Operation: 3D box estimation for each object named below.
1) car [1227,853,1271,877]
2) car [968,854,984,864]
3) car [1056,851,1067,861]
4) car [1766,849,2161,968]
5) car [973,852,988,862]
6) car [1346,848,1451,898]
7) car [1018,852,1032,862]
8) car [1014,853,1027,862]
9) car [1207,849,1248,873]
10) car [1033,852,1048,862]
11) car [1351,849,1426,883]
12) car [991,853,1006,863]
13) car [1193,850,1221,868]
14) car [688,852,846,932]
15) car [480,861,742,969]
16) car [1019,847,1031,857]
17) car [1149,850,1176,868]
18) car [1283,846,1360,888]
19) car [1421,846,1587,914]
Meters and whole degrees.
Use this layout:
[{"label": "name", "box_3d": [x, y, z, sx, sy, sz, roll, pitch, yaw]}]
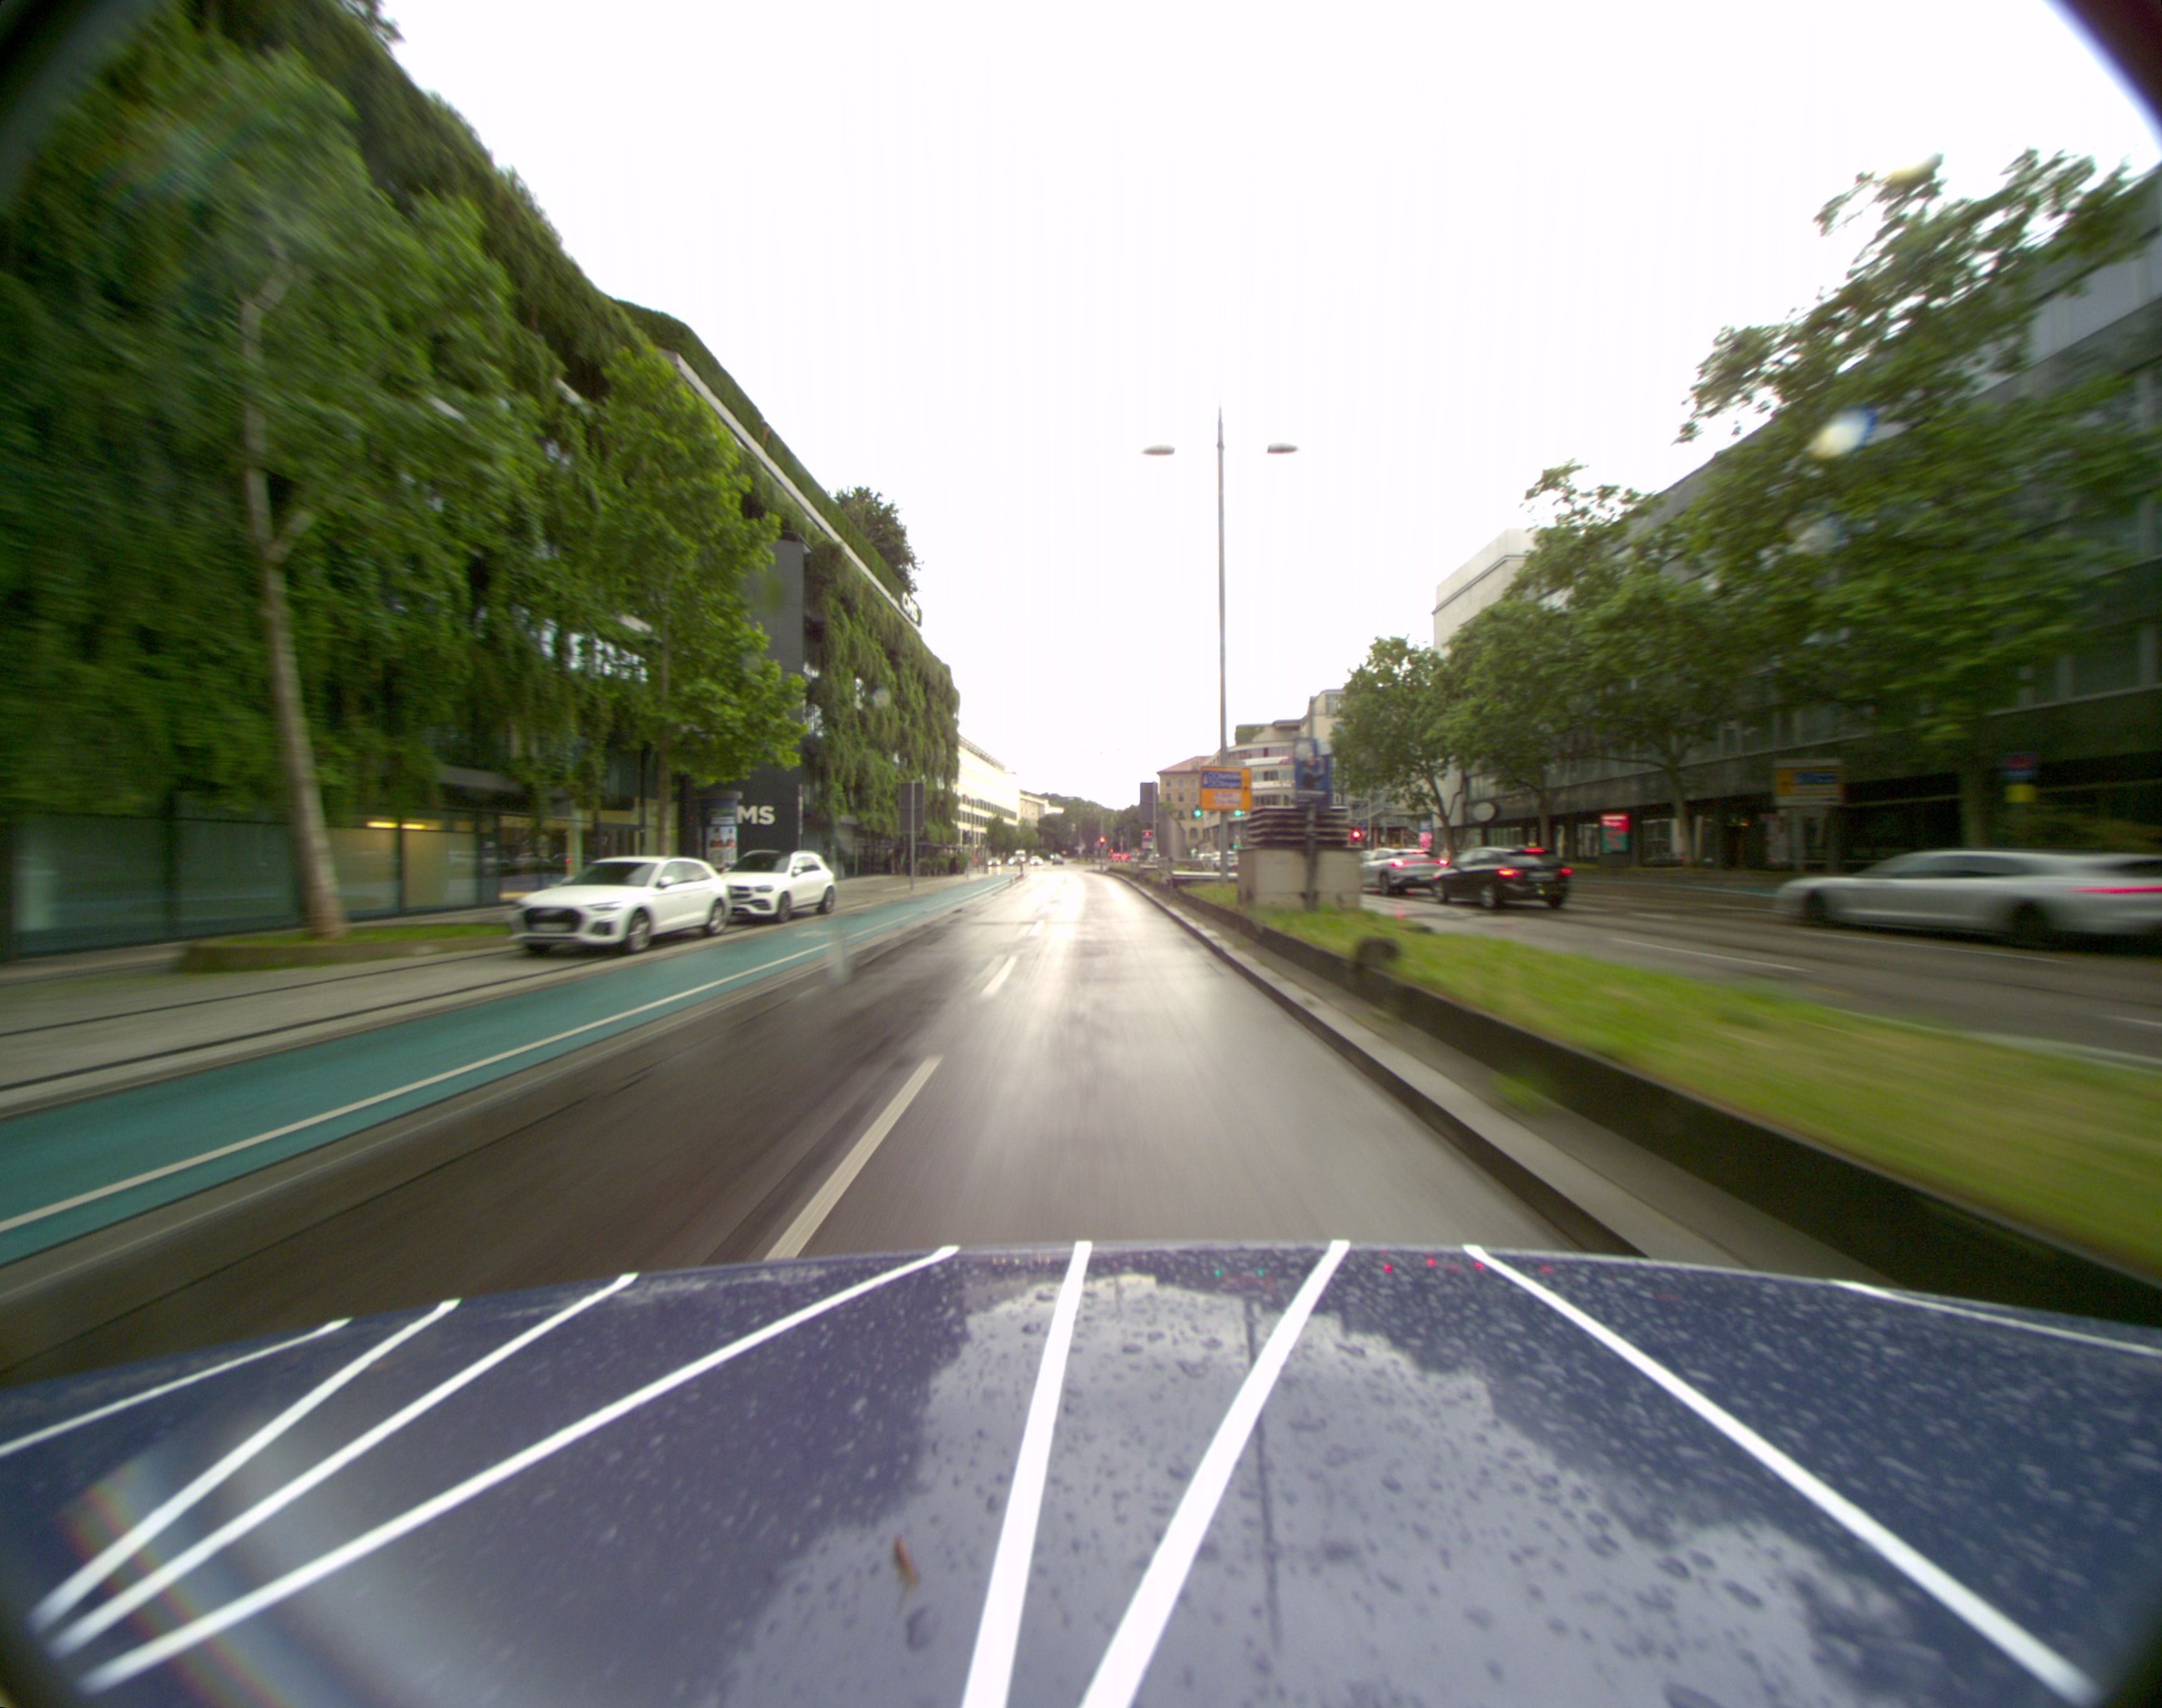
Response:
[{"label": "car", "box_3d": [10.808, 0.684, 49.228, 1.848, 1.442, 4.916, -1, 0, 1]}, {"label": "car", "box_3d": [-16.226, 0.720, 117.560, 1.739, 1.543, 4.670, -1, 0, 1]}, {"label": "car", "box_3d": [-3.068, 0.346, 120.887, 1.739, 1.543, 4.669, -1, 0, -2]}, {"label": "car", "box_3d": [13.714, 0.655, 11.579, 1.972, 1.401, 4.956, -1, 0, -2]}, {"label": "car", "box_3d": [-16.487, 0.502, 125.277, 1.739, 1.543, 4.670, -1, 0, 1]}, {"label": "car", "box_3d": [10.997, 0.607, 26.708, 1.739, 1.564, 4.832, -1, 0, 1]}, {"label": "car", "box_3d": [-8.653, 0.486, 117.269, 1.739, 1.543, 4.670, -1, 0, 1]}, {"label": "car", "box_3d": [-9.865, 0.550, 123.998, 1.739, 1.543, 4.670, -1, 0, 1]}, {"label": "car", "box_3d": [10.683, 0.487, 55.800, 1.882, 1.675, 4.797, -1, 0, -3]}, {"label": "car", "box_3d": [-6.488, 0.537, 122.058, 1.978, 1.543, 4.670, -1, 0, 1]}, {"label": "car", "box_3d": [14.348, 0.544, 35.761, 1.723, 1.482, 4.569, -1, 0, 1]}, {"label": "car", "box_3d": [-13.072, 0.562, 119.931, 1.739, 1.543, 4.670, -1, 0, 1]}, {"label": "car", "box_3d": [10.311, 0.391, 62.275, 1.721, 1.467, 3.431, -1, 0, 1]}, {"label": "car", "box_3d": [-8.062, 0.872, 20.129, 1.847, 1.827, 5.095, 1, 0, 3]}, {"label": "car", "box_3d": [-8.372, 0.968, 14.202, 1.848, 1.623, 4.786, -1, 0, 1]}, {"label": "car", "box_3d": [-11.326, -0.330, 153.354, 1.998, 2.002, 4.000, -1, 0, 1]}, {"label": "car", "box_3d": [6.767, 0.403, 63.802, 1.848, 1.473, 4.164, -1, 0, 1]}, {"label": "car", "box_3d": [10.925, 0.548, 34.950, 1.840, 1.756, 5.108, -1, 0, -1]}, {"label": "car", "box_3d": [10.860, 0.612, 19.935, 1.918, 1.543, 4.542, -1, 0, 2]}]
